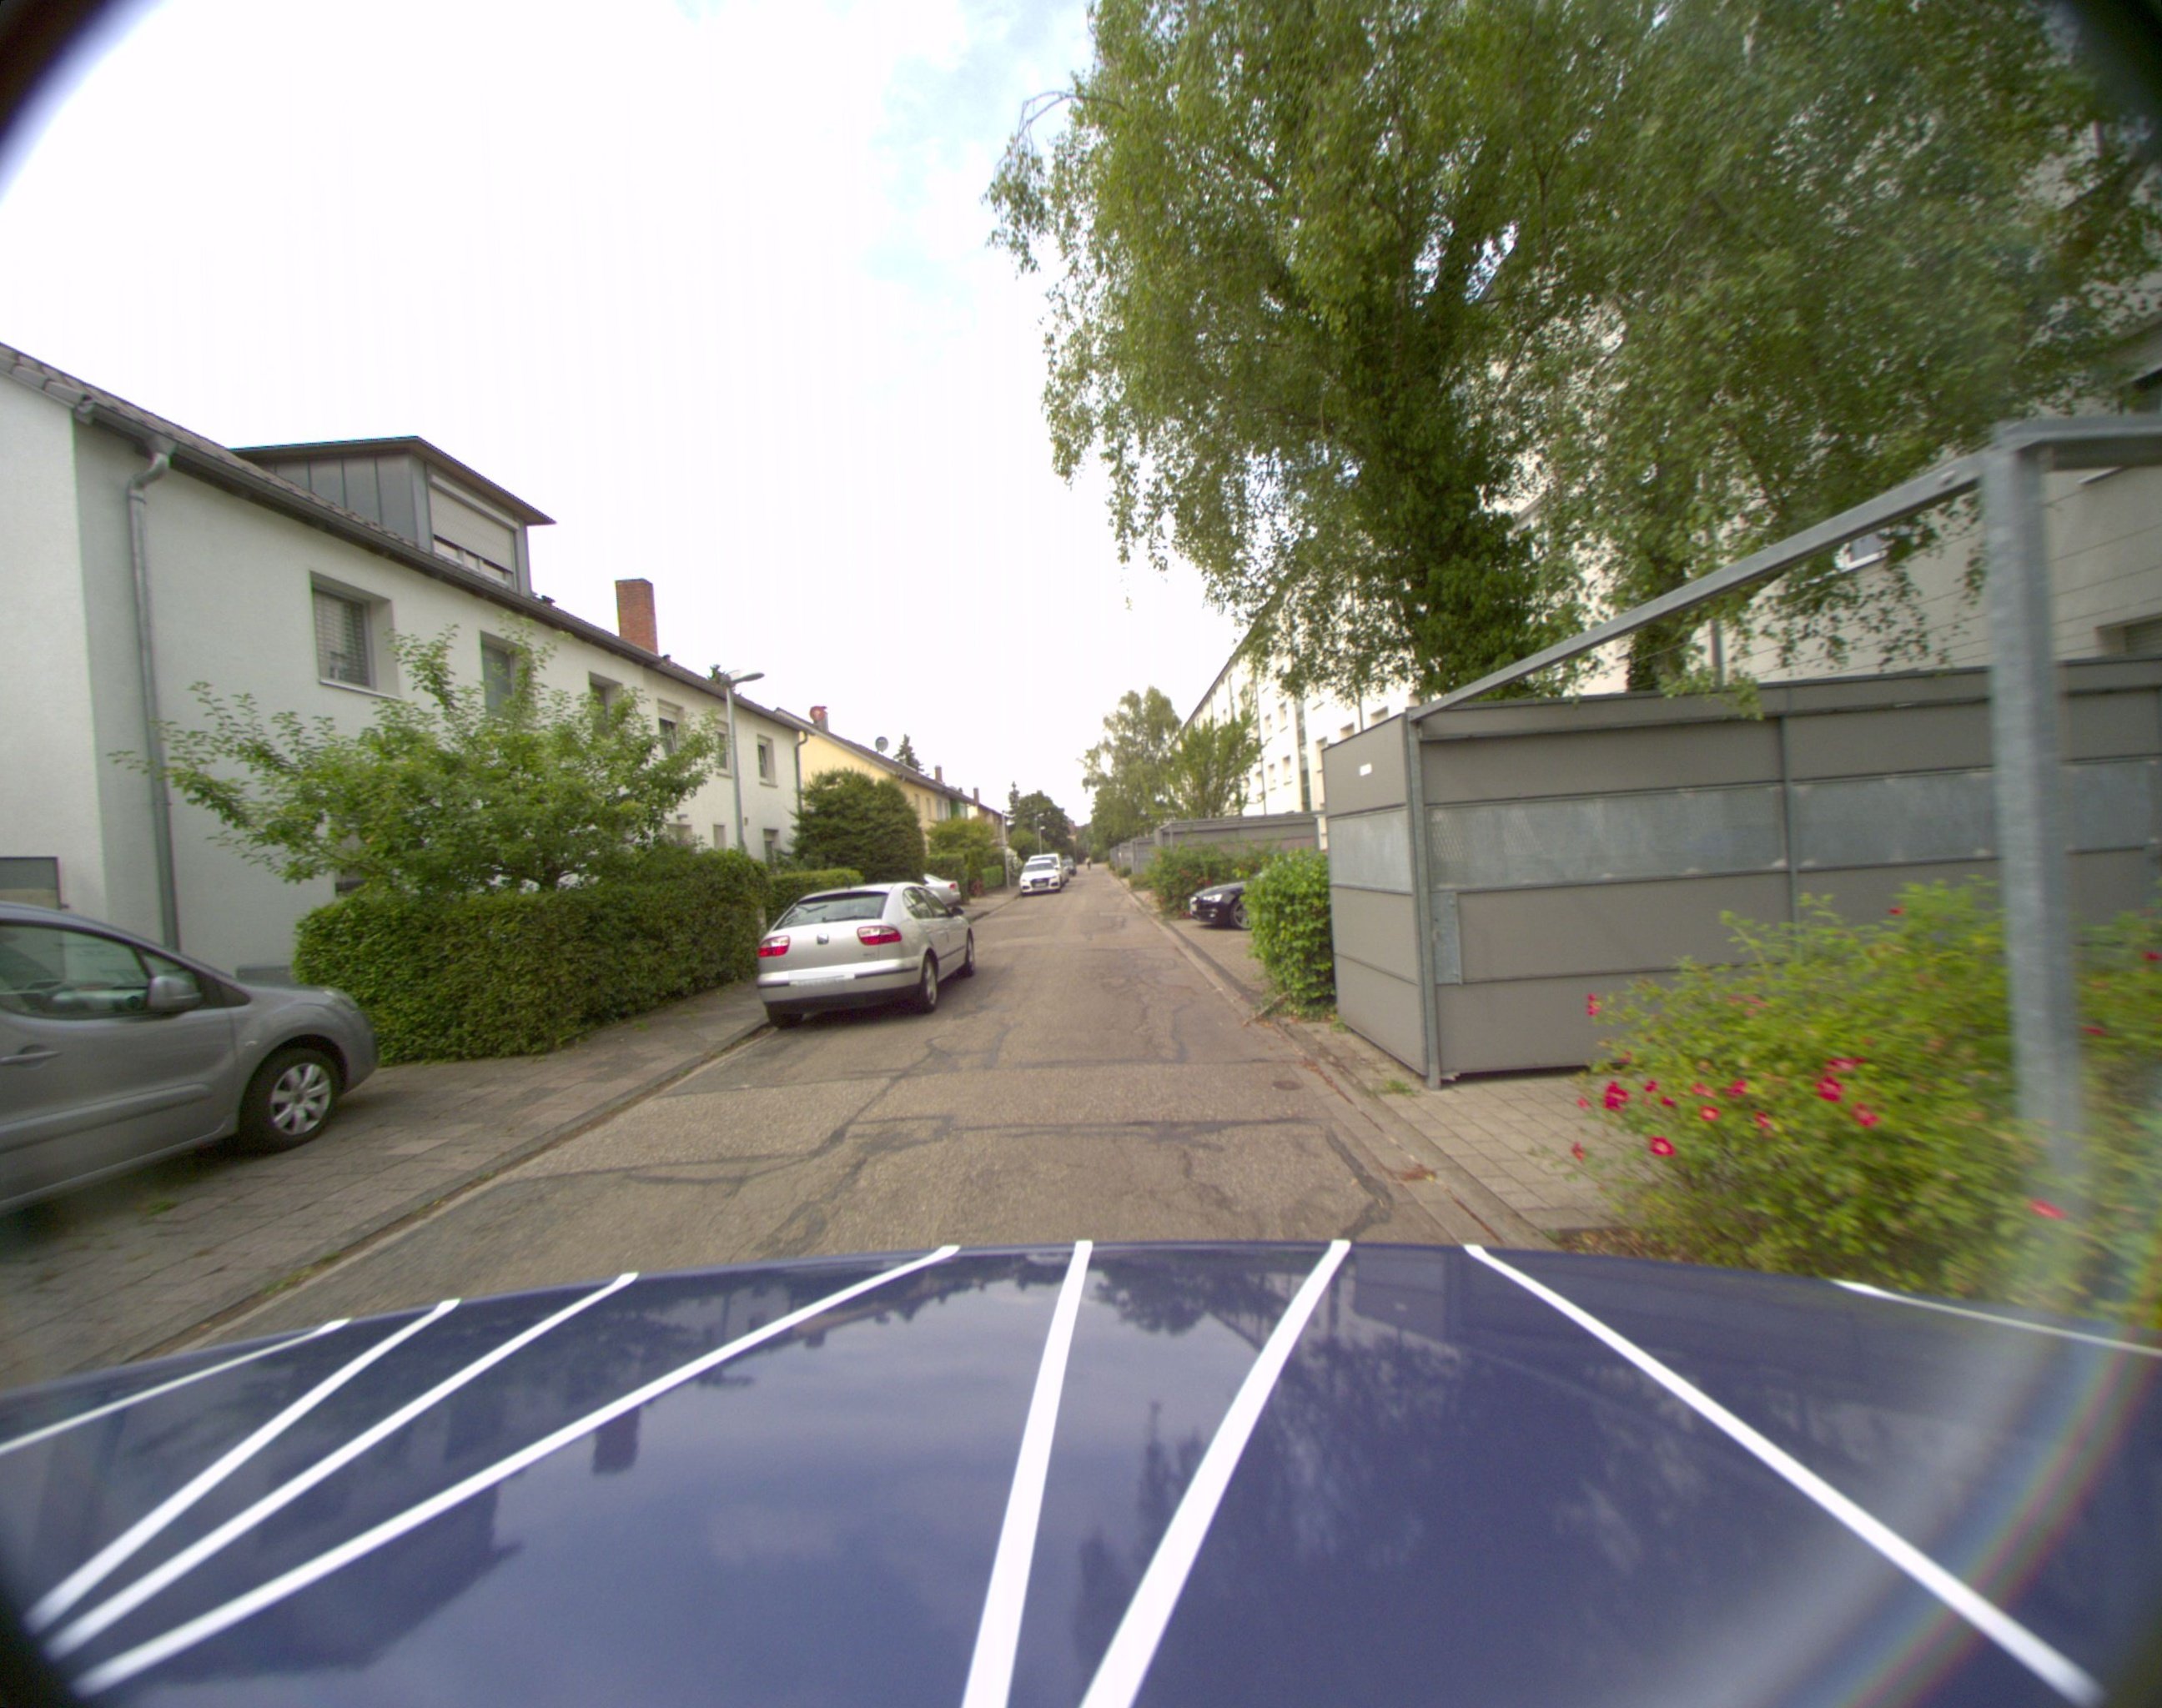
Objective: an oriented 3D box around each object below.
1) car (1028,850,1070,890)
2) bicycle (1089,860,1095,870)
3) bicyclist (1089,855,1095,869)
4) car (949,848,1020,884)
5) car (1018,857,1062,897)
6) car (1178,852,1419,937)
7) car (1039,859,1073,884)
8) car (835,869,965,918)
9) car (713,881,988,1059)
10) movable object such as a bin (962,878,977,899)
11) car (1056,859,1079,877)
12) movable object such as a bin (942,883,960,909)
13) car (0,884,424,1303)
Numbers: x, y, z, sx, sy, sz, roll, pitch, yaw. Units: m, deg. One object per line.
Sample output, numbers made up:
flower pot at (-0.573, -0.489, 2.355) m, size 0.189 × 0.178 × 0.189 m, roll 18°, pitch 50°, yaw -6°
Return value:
car at (-1.716, 0.836, 42.816) m, size 1.908 × 1.953 × 5.253 m, roll -6°, pitch 0°, yaw 1°
bicycle at (1.271, 1.300, 88.970) m, size 0.598 × 1.070 × 2.043 m, roll -3°, pitch 0°, yaw 3°
bicyclist at (1.252, 0.942, 88.922) m, size 0.598 × 1.571 × 0.767 m, roll -3°, pitch 1°, yaw 3°
car at (-7.520, 0.896, 59.531) m, size 5.100 × 2.527 × 2.238 m, roll -3°, pitch 0°, yaw 2°
car at (-1.895, 1.024, 36.256) m, size 1.830 × 1.626 × 4.161 m, roll -6°, pitch 0°, yaw -2°
car at (4.372, 0.788, 15.716) m, size 4.336 × 1.368 × 1.922 m, roll -4°, pitch 0°, yaw -4°
car at (-1.606, 1.135, 50.735) m, size 1.787 × 1.412 × 4.456 m, roll -6°, pitch 0°, yaw 3°
car at (-6.097, 1.324, 26.019) m, size 4.032 × 1.418 × 1.853 m, roll -2°, pitch 0°, yaw -5°
car at (-2.456, 1.186, 9.382) m, size 1.829 × 1.362 × 4.331 m, roll -6°, pitch 0°, yaw 2°
movable object such as a bin at (-4.929, 1.530, 33.544) m, size 0.511 × 0.863 × 0.529 m, roll -4°, pitch 0°, yaw 1°
car at (-1.210, 1.215, 67.294) m, size 1.834 × 1.449 × 4.190 m, roll -5°, pitch 0°, yaw -1°
movable object such as a bin at (-4.847, 1.575, 28.417) m, size 0.511 × 0.916 × 0.500 m, roll -4°, pitch 0°, yaw 1°
car at (-5.761, 1.142, 3.458) m, size 1.830 × 1.766 × 4.339 m, roll -2°, pitch 0°, yaw -2°
